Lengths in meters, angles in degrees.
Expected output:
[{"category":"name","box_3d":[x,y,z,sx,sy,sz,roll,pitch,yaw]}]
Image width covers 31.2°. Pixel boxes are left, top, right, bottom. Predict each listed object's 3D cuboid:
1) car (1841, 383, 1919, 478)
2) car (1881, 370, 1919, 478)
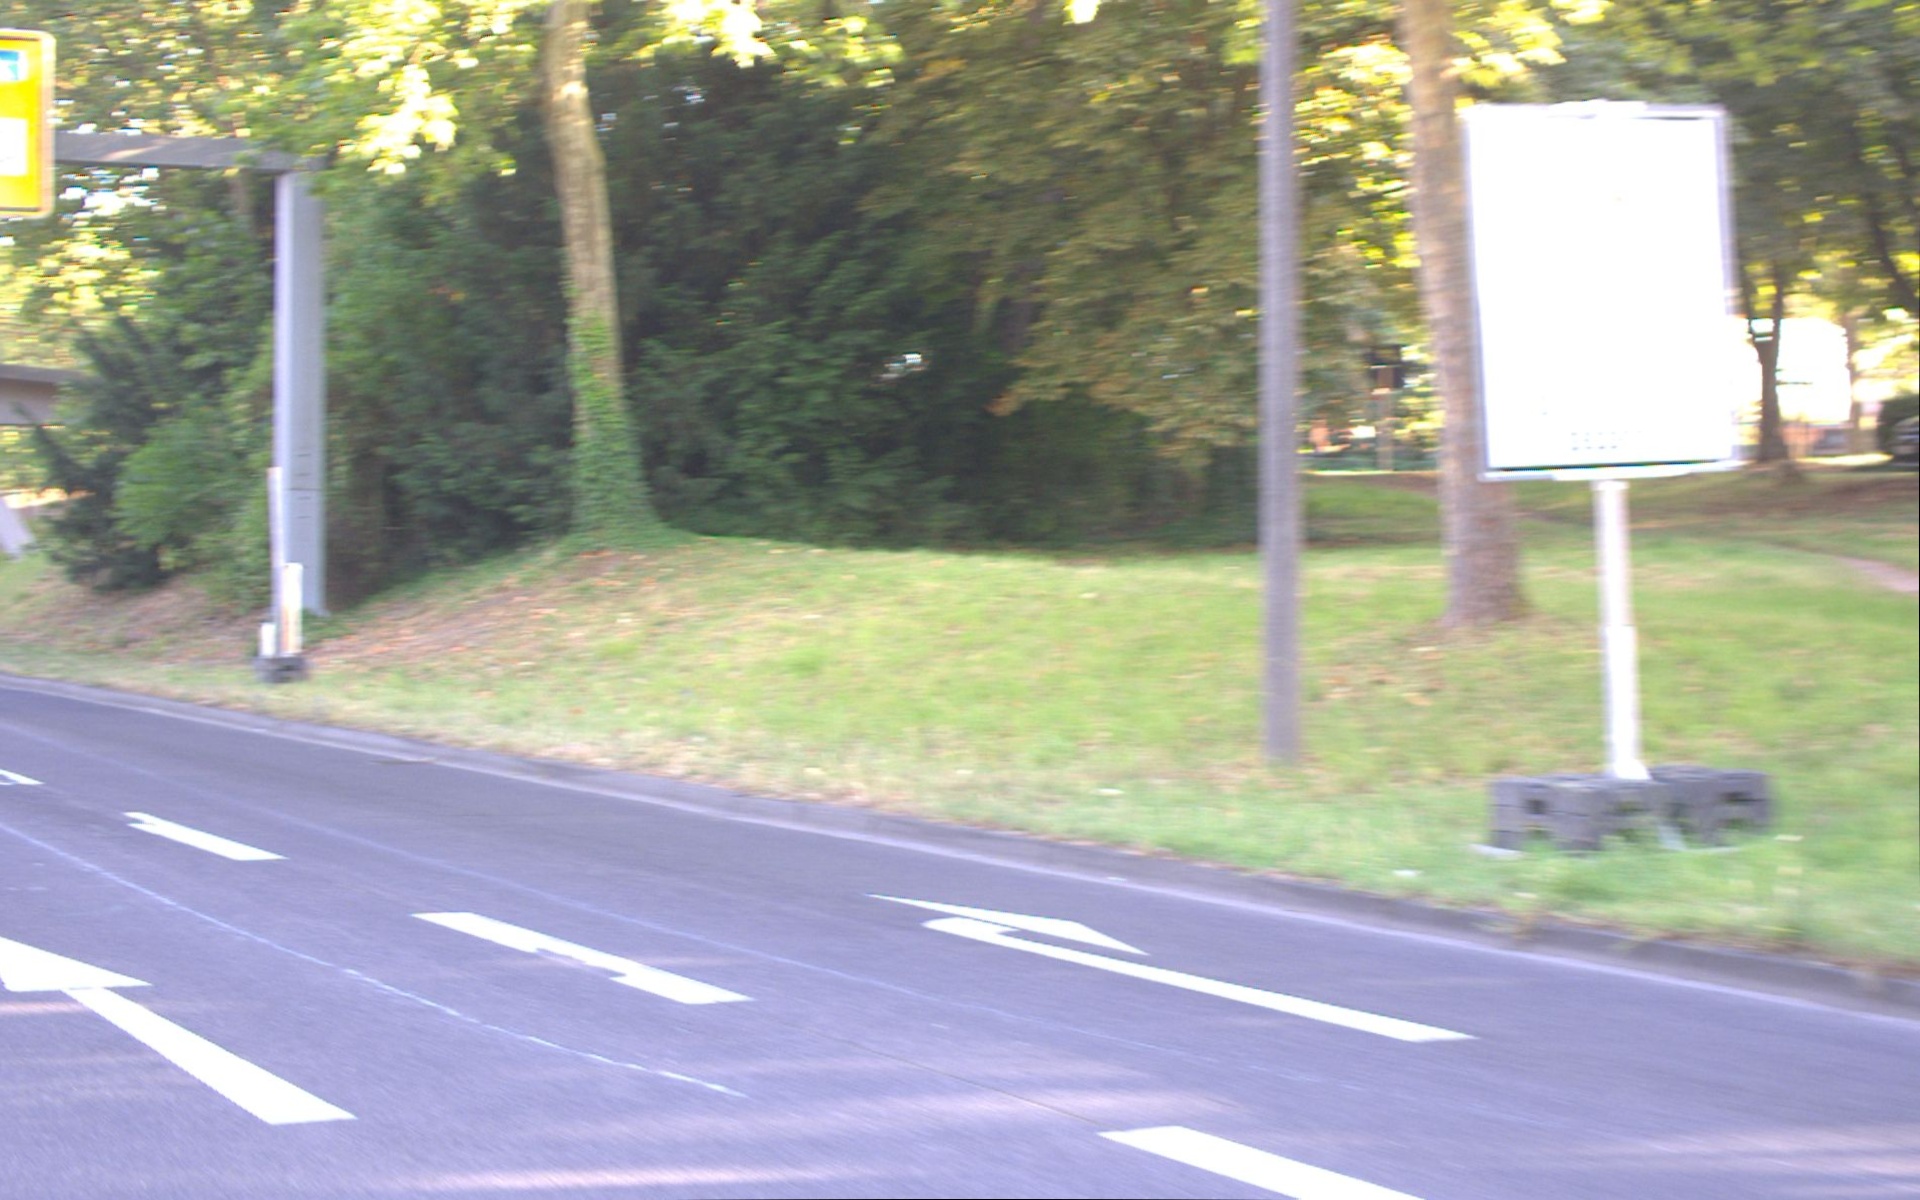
[{"category":"car","box_3d":[17.049,-2.856,57.687,3.986,1.546,1.808,-1,2,-11]},{"category":"car","box_3d":[15.779,-2.609,50.532,3.986,1.546,1.808,-2,2,-20]}]
